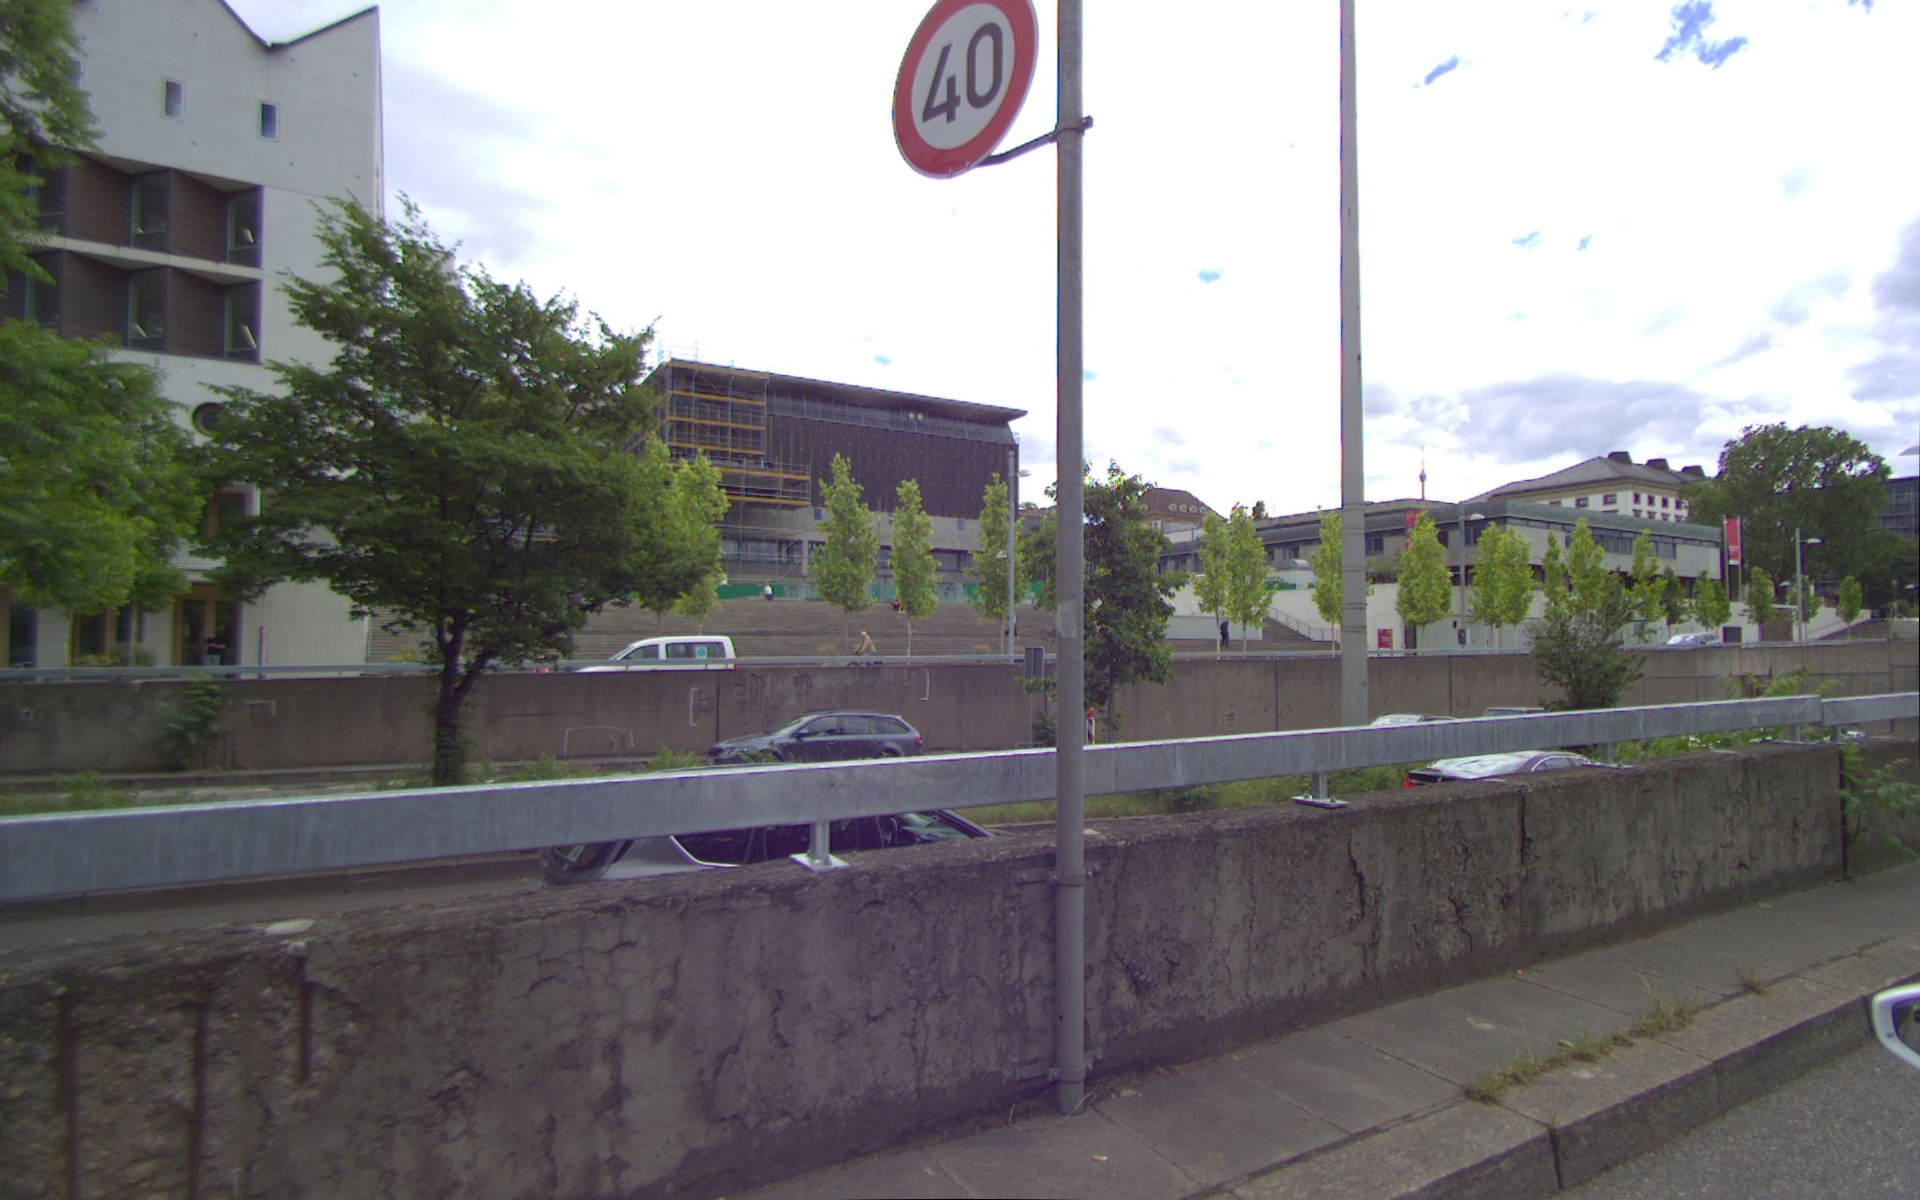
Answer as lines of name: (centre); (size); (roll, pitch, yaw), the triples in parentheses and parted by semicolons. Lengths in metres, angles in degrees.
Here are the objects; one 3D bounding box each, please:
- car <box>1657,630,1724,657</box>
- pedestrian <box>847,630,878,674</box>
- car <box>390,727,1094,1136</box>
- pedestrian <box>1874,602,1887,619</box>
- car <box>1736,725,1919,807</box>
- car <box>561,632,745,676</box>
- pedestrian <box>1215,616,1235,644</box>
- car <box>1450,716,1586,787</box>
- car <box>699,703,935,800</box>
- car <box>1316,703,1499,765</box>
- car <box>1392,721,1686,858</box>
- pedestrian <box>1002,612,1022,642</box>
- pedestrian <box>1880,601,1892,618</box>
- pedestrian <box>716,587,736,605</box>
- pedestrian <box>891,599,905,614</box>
car: (39.947, 2.373, 54.894); (3.830, 1.378, 1.820); (2, -1, -35)
pedestrian: (-3.804, 2.010, 39.142); (0.993, 1.662, 0.731); (1, -2, -30)
car: (-1.439, 1.991, 7.254); (4.601, 1.738, 1.885); (1, -1, -29)
pedestrian: (92.573, 1.066, 101.026); (0.628, 1.751, 0.695); (2, 0, 3)
car: (20.794, 3.878, 23.990); (4.803, 1.479, 1.805); (2, -1, -29)
car: (-8.784, 1.546, 28.880); (4.753, 1.133, 1.800); (2, -1, -31)
pedestrian: (16.611, 1.880, 63.013); (0.991, 1.662, 0.638); (2, 3, -30)
car: (18.794, 5.017, 33.788); (4.847, 1.922, 1.808); (2, -1, -31)
car: (-2.951, 3.075, 21.060); (4.528, 1.559, 1.869); (2, -1, -31)
car: (11.608, 3.401, 25.981); (4.796, 1.158, 1.983); (2, -1, -32)
car: (9.164, 2.842, 15.796); (4.755, 1.502, 1.984); (1, -2, -31)
pedestrian: (2.930, 1.530, 56.972); (0.849, 1.662, 0.639); (2, 3, -30)
pedestrian: (100.055, 1.041, 108.491); (0.629, 1.751, 0.694); (2, 0, -5)
pedestrian: (-12.605, -0.206, 54.063); (0.849, 0.895, 0.639); (2, 3, -30)
pedestrian: (-3.608, 0.389, 58.739); (0.649, 0.883, 0.533); (2, 0, -25)
